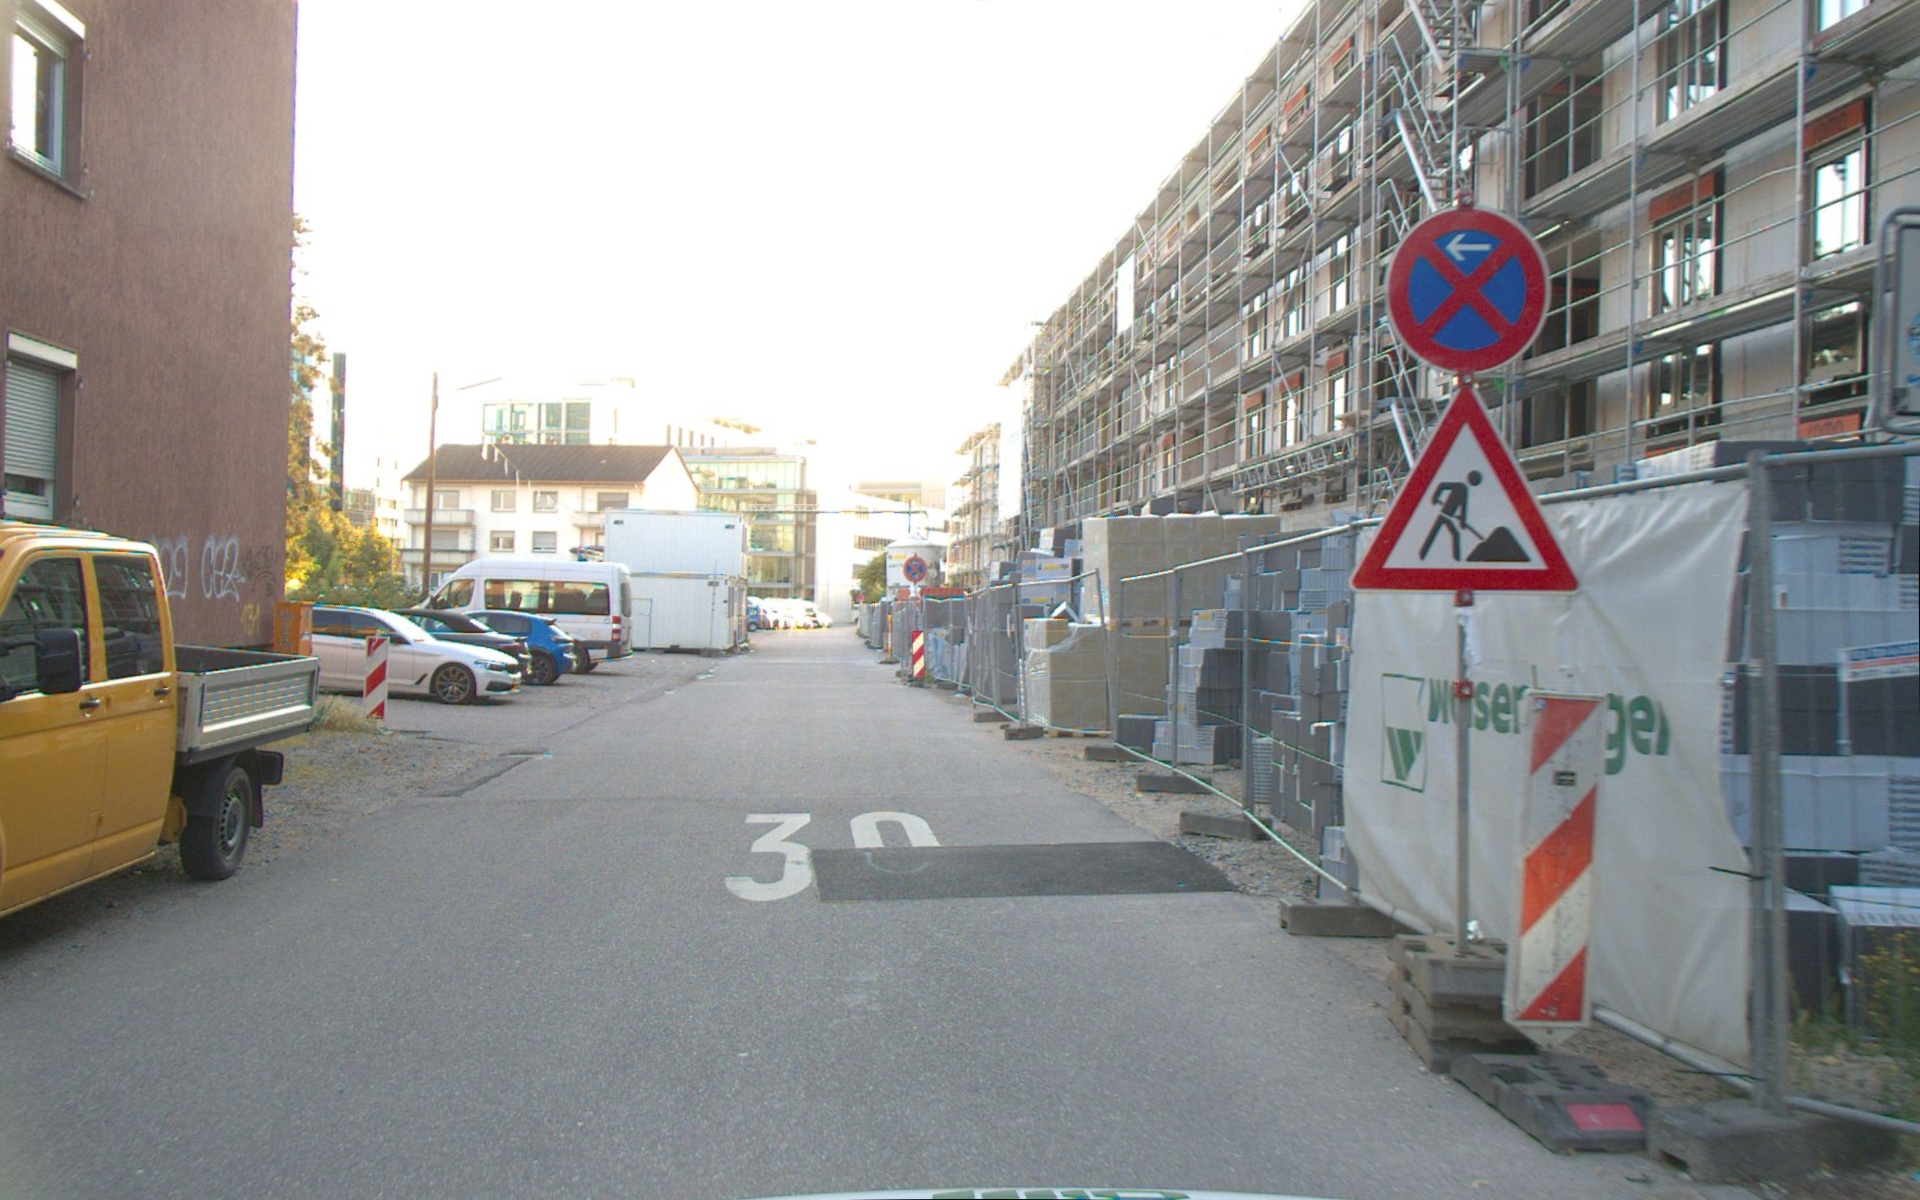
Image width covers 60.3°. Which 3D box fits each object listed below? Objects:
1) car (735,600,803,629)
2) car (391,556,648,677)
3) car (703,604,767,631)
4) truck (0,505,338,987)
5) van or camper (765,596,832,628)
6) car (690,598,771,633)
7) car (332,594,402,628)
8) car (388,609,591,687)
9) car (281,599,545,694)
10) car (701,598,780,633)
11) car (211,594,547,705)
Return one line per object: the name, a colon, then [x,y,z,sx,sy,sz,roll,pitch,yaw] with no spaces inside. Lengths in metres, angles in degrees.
car: [-17.396,1.330,150.804,5.798,2.534,2.001,0,-1,6]
car: [-10.588,0.399,40.137,5.576,2.672,2.220,2,-1,-3]
car: [-15.981,1.243,117.509,4.422,1.901,1.995,1,-1,-11]
truck: [-4.991,0.582,8.254,1.995,1.946,5.655,2,-1,-5]
van or camper: [-16.014,1.229,164.385,6.198,3.031,2.294,1,-1,8]
car: [-18.213,1.234,131.414,6.204,2.697,1.998,1,-1,-5]
car: [-38.156,0.736,106.494,2.259,2.049,5.061,1,-1,5]
car: [-9.687,0.983,34.268,3.764,1.454,1.725,2,-1,-7]
car: [-10.029,0.858,30.622,4.334,1.571,1.724,2,-1,-9]
car: [-17.921,1.251,135.263,6.204,2.789,1.998,1,-1,-5]
car: [-9.762,0.827,28.139,4.894,1.571,2.114,3,-1,-3]
